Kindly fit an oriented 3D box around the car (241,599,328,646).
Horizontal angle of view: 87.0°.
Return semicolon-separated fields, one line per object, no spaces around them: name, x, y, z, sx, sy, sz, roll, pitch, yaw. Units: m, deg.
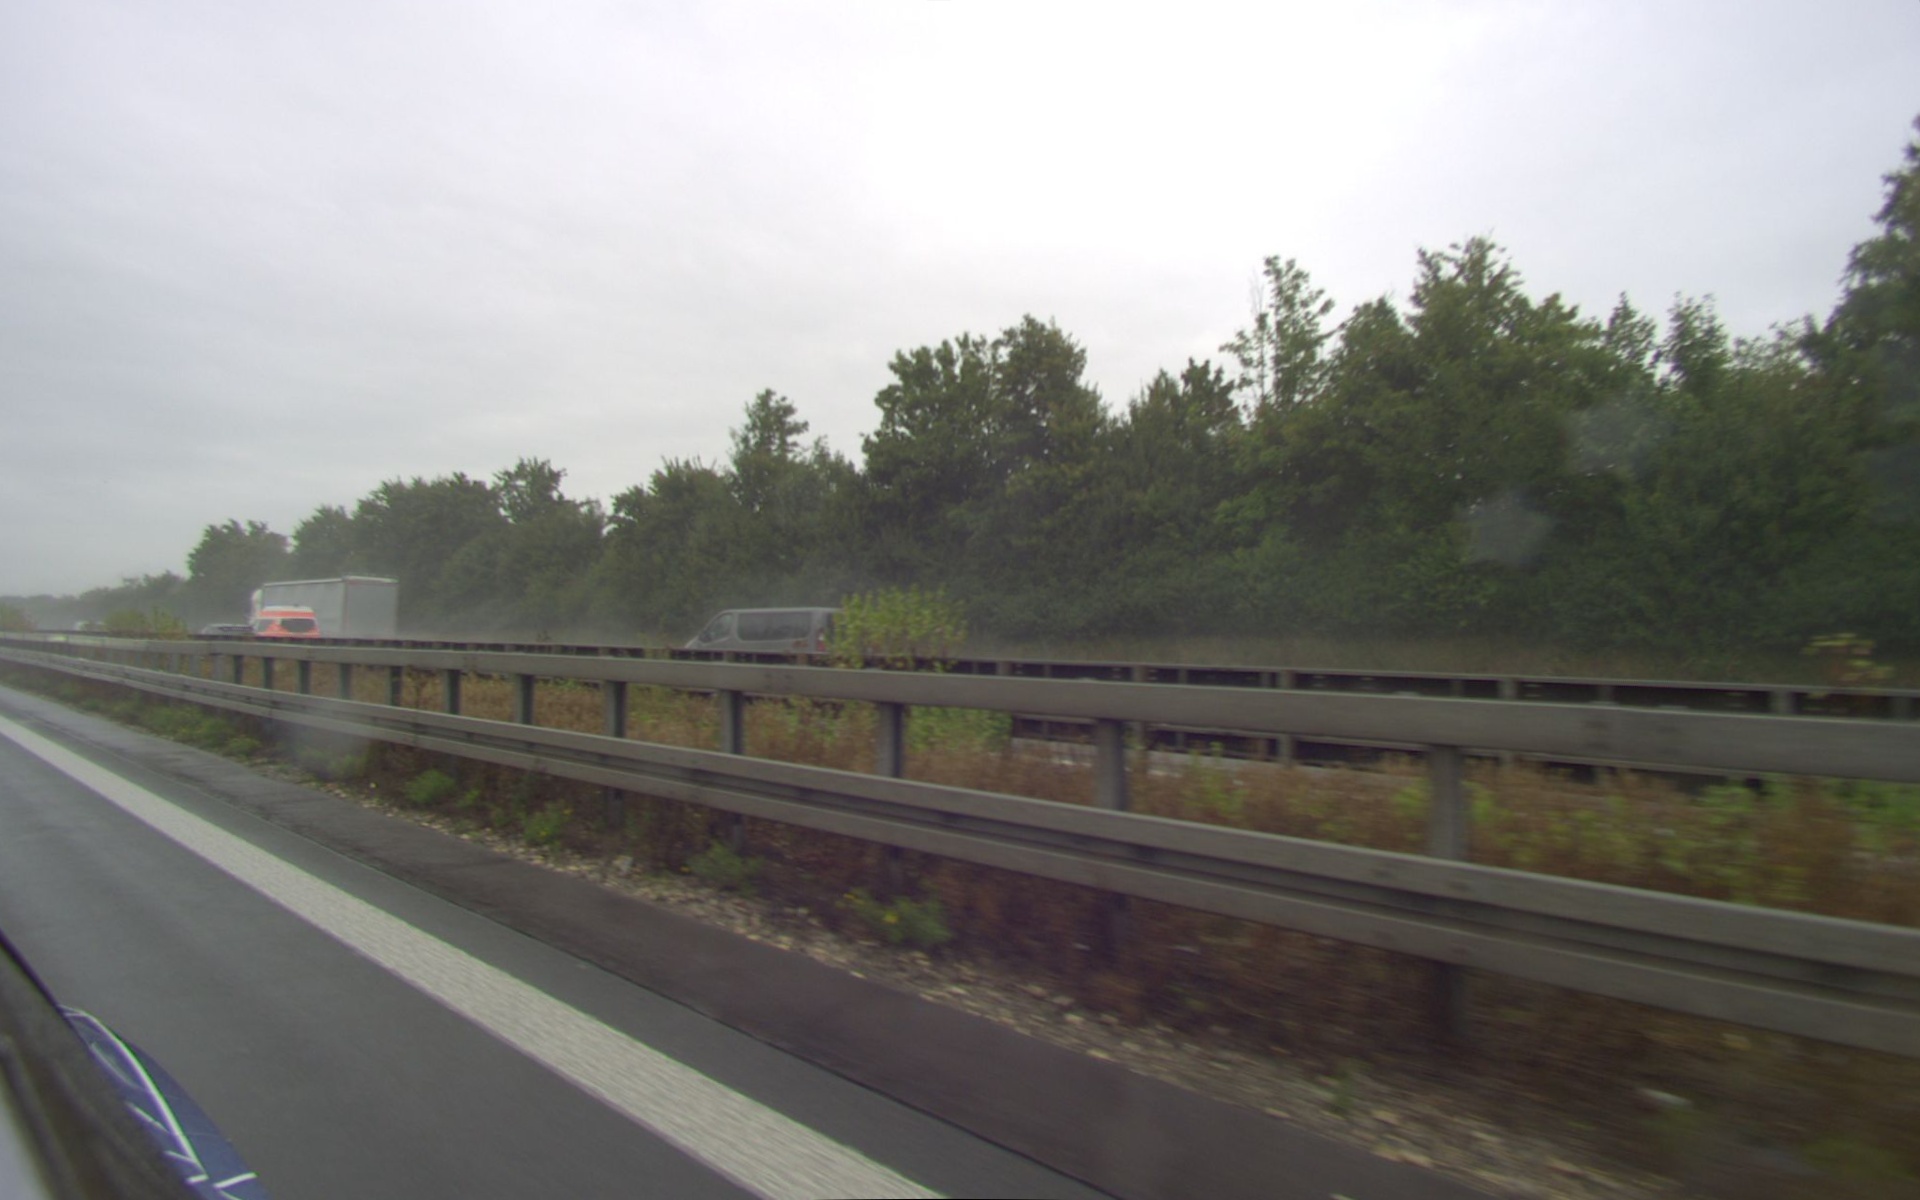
car;-30.666;1.060;45.916;5.011;2.000;1.973;-2;-1;40

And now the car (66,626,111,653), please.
car;-69.626;3.141;80.830;5.398;2.029;1.909;-2;-1;40

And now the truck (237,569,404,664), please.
truck;-36.139;1.062;56.621;17.086;4.710;2.935;-2;-1;40

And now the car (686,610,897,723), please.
car;-3.788;1.386;22.228;4.662;2.190;2.012;-2;-1;40
